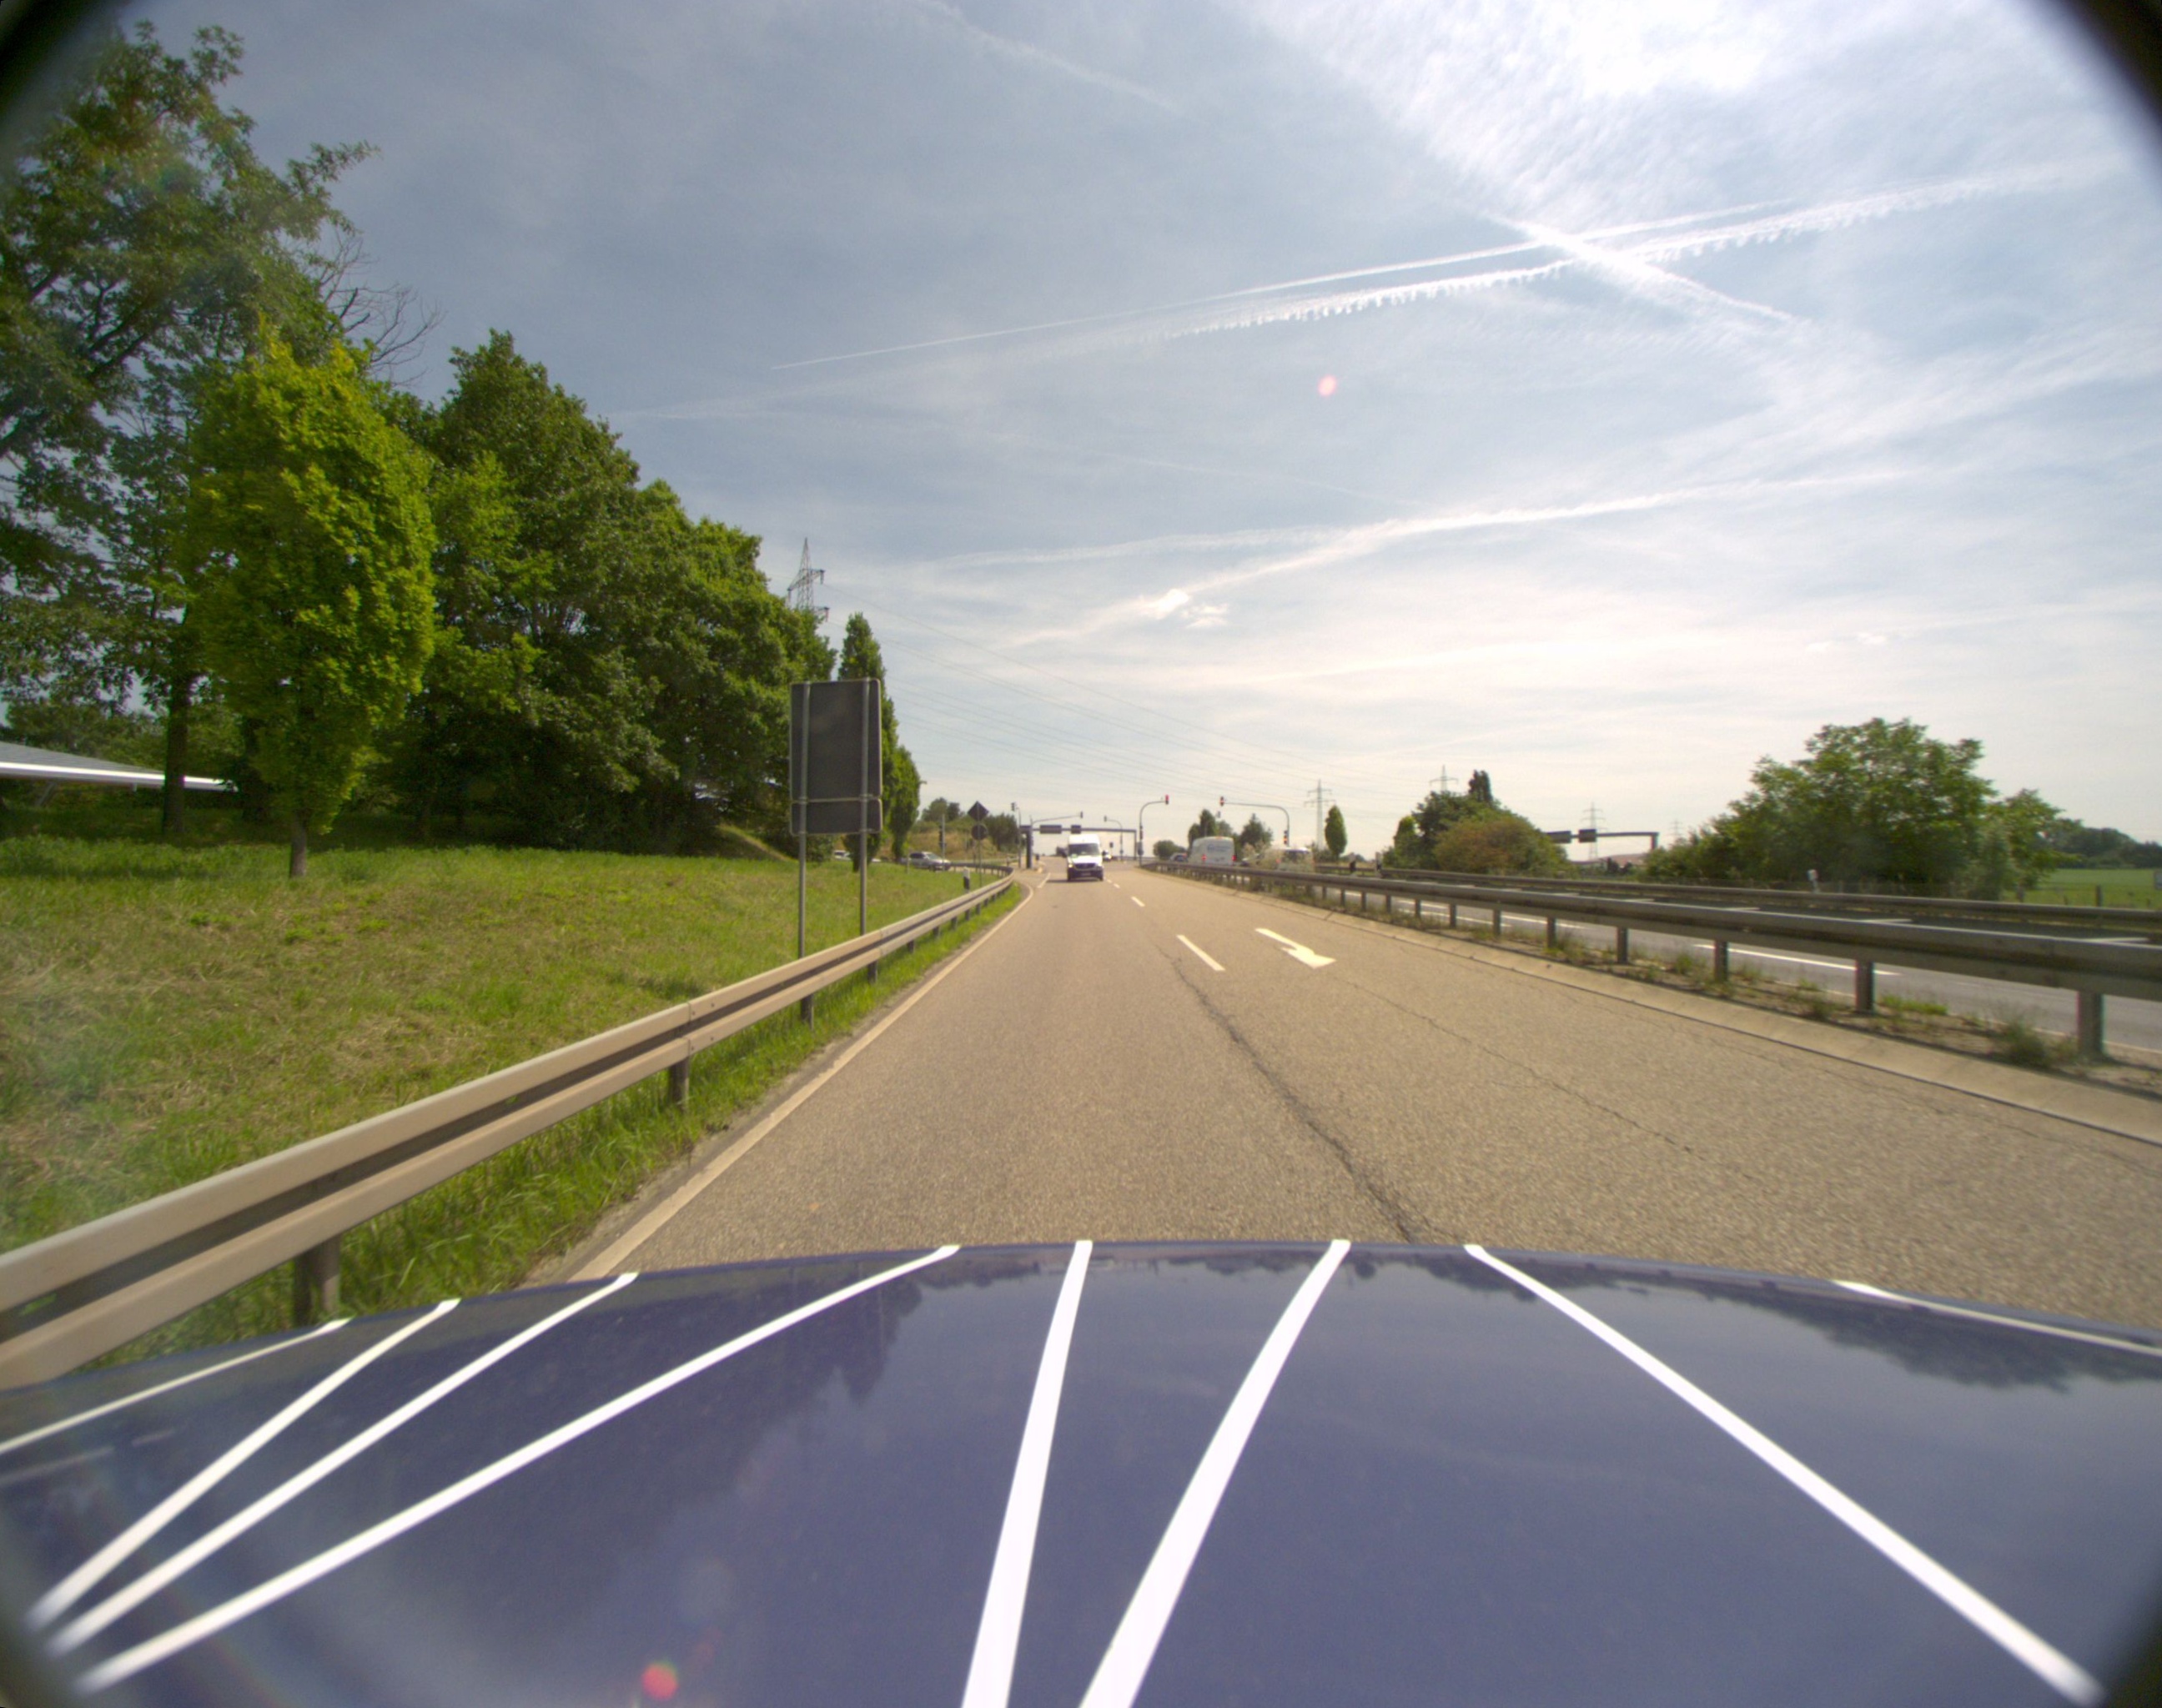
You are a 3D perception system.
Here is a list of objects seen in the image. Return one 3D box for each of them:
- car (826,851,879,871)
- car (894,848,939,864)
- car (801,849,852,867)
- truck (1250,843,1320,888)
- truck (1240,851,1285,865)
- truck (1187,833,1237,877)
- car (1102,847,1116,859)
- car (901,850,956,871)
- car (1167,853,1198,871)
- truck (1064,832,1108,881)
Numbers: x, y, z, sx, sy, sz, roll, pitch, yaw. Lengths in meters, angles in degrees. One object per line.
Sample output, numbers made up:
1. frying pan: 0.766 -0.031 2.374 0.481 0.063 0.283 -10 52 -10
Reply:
1. car: -19.605 0.578 65.298 3.993 1.591 1.783 0 1 13
2. car: -16.806 0.233 77.714 4.375 1.502 1.713 1 1 -16
3. car: -23.022 0.347 68.757 4.377 1.583 1.776 0 1 -21
4. truck: 8.795 0.429 33.203 1.853 1.739 4.536 2 1 1
5. truck: 23.673 0.506 99.267 5.284 1.747 1.998 1 1 -11
6. truck: 8.398 0.036 49.321 2.046 2.605 6.018 2 0 -1
7. car: 4.235 -0.156 116.144 1.772 1.788 4.750 -1 1 -3
8. car: -12.569 0.503 62.541 4.360 1.645 1.840 1 1 30
9. car: 8.262 0.626 62.119 1.760 1.460 4.194 0 0 -3
10. truck: 0.196 0.114 42.541 1.999 2.518 5.102 -1 1 -5
